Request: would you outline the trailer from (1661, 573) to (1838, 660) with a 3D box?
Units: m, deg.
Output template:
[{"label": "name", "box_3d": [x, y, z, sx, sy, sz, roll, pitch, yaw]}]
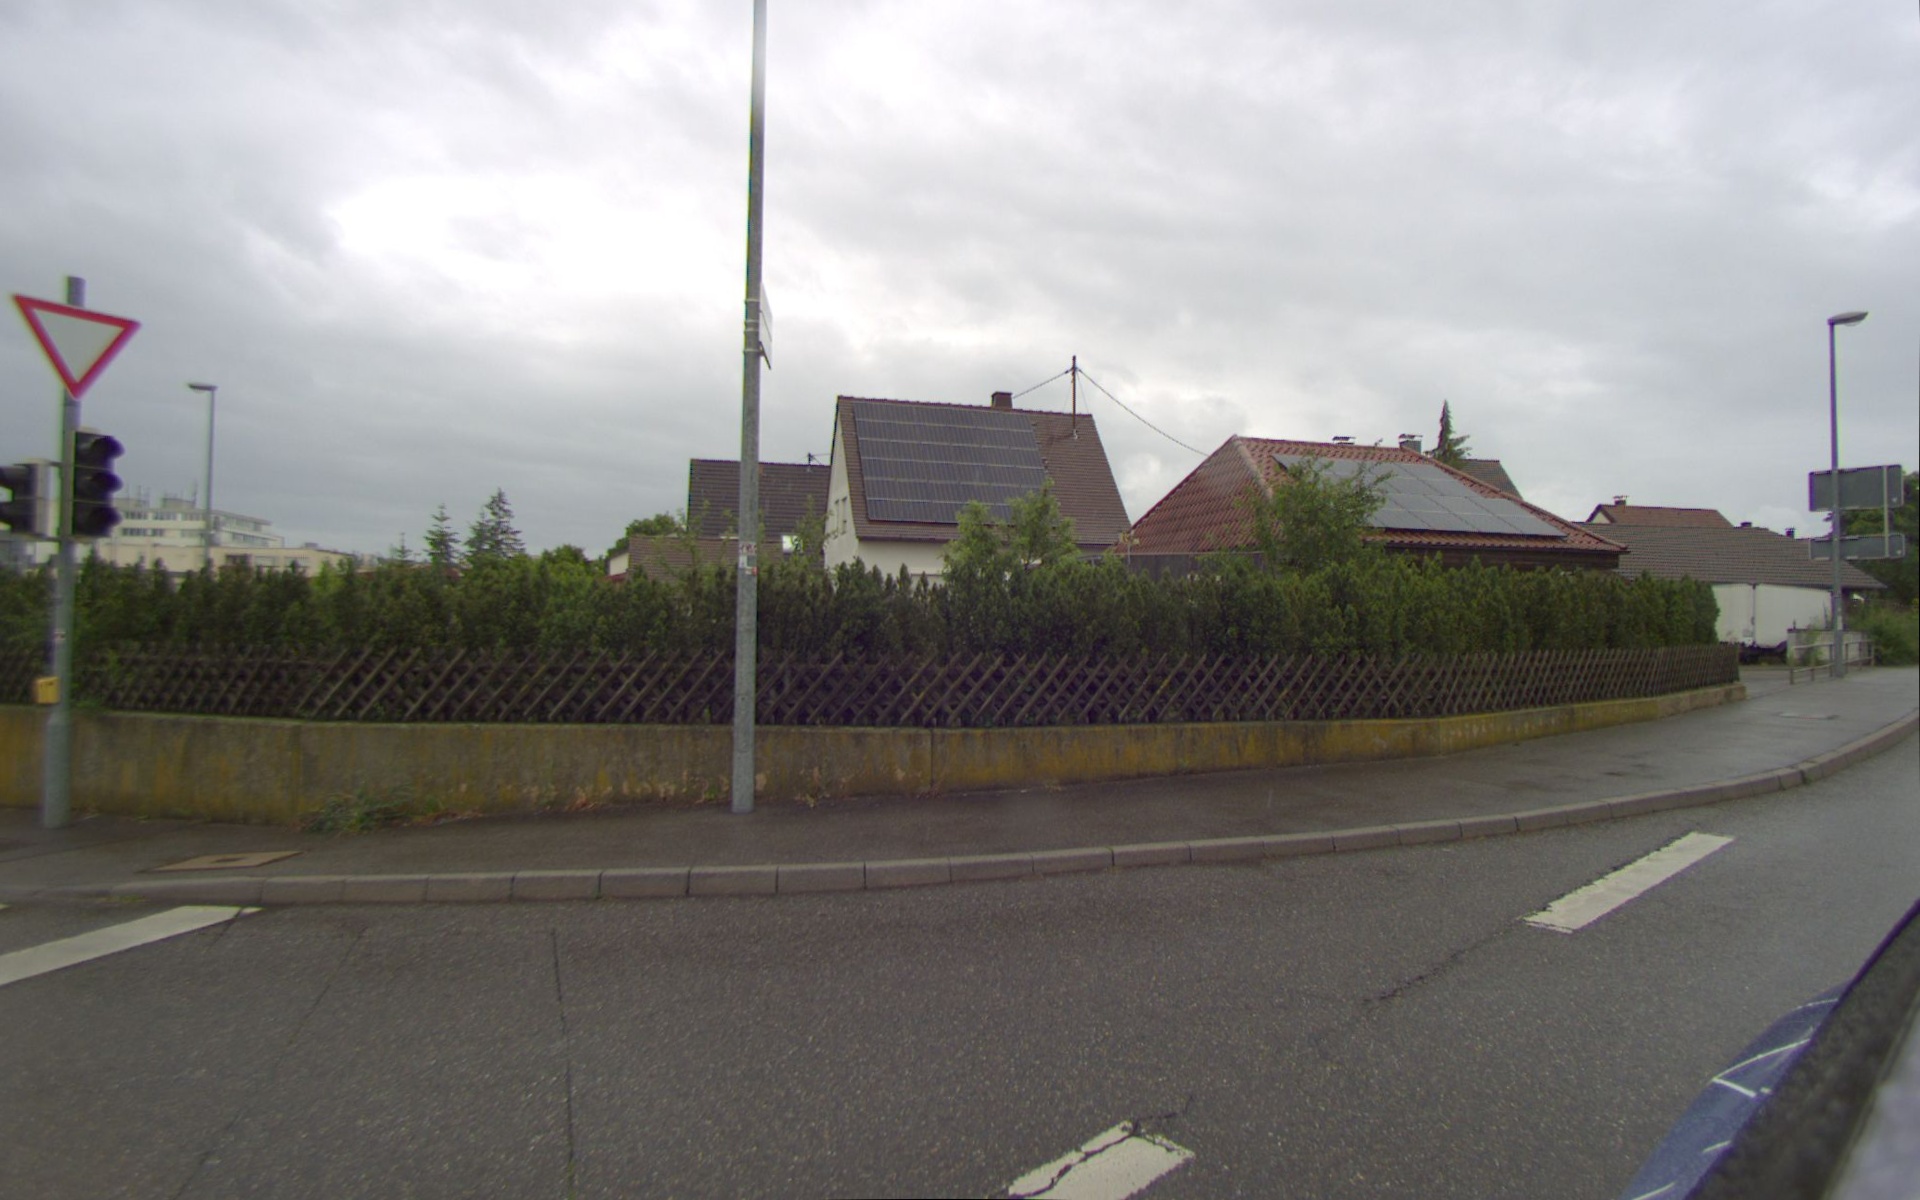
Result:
[{"label": "trailer", "box_3d": [23.987, 0.497, 30.787, 4.605, 2.550, 1.652, 0, -2, -13]}]
